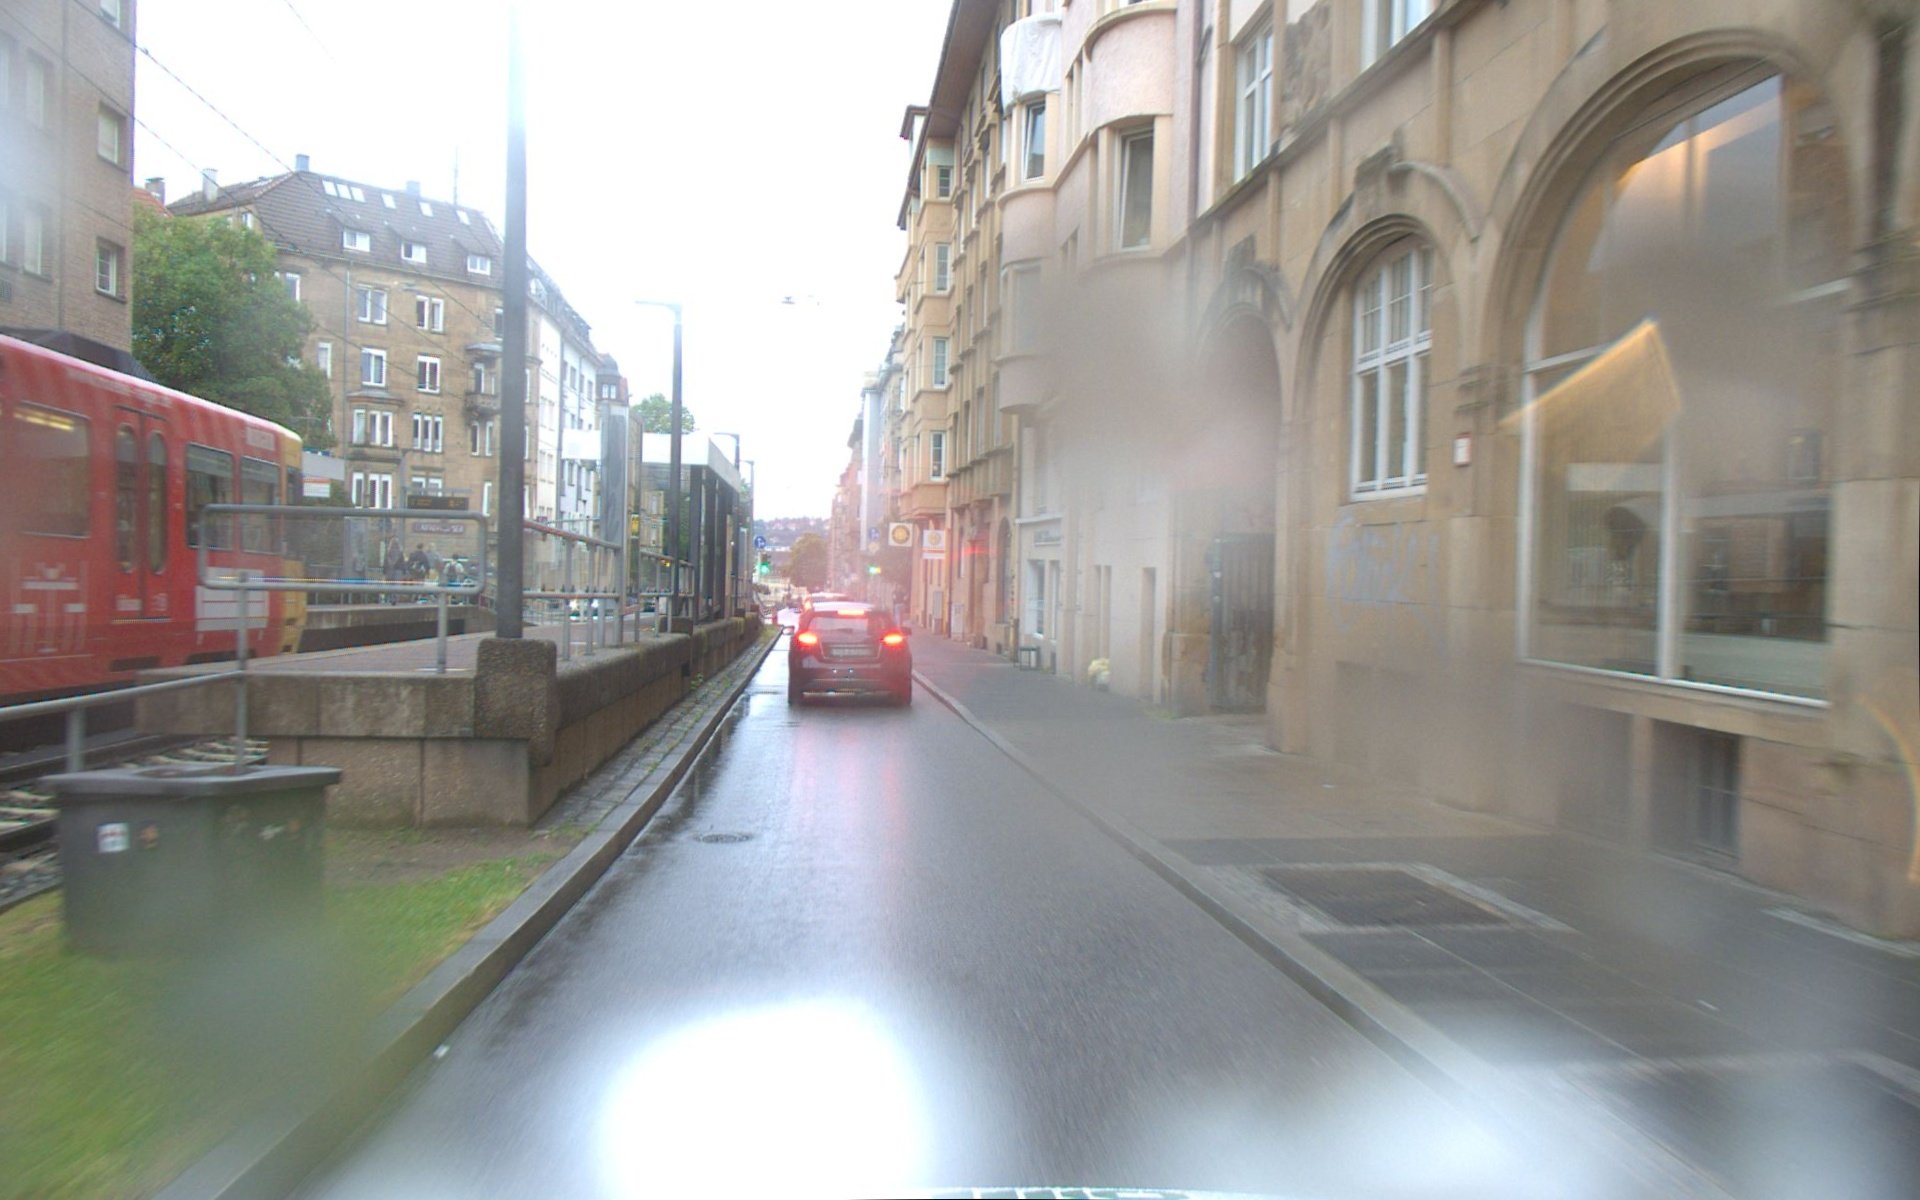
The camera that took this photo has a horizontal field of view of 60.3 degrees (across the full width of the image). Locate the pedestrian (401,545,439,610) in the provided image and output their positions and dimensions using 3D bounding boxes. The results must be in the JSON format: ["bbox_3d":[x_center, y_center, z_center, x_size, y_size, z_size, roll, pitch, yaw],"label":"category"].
[{"bbox_3d":[-14.572,-0.604,44.675,0.729,1.726,0.882,2,0,-5],"label":"pedestrian"}]

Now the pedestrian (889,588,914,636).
[{"bbox_3d":[-2.384,0.477,67.054,0.882,1.872,0.968,-3,0,-3],"label":"pedestrian"}]

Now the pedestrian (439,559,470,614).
[{"bbox_3d":[-14.974,-0.385,48.987,0.679,1.611,0.955,1,-1,-5],"label":"pedestrian"}]

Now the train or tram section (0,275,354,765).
[{"bbox_3d":[-9.211,-0.663,13.981,2.662,3.989,19.839,1,0,-5],"label":"train or tram section"}]

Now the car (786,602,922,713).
[{"bbox_3d":[-1.590,0.781,24.493,1.830,1.477,3.996,1,0,-5],"label":"car"}]

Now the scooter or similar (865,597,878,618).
[{"bbox_3d":[-5.146,0.428,96.151,0.626,1.231,1.549,-1,0,-9],"label":"scooter or similar"}]

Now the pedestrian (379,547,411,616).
[{"bbox_3d":[-14.386,-0.467,42.143,0.652,1.728,0.687,0,-2,-9],"label":"pedestrian"}]

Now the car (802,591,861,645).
[{"bbox_3d":[-3.652,0.487,47.411,1.617,1.477,3.997,1,0,-4],"label":"car"}]

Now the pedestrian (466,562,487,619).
[{"bbox_3d":[-15.711,-0.308,53.755,0.500,1.850,0.799,1,0,-5],"label":"pedestrian"}]

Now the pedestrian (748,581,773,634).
[{"bbox_3d":[-7.779,0.304,64.563,0.908,2.049,0.946,1,0,-5],"label":"pedestrian"}]

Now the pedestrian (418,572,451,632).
[{"bbox_3d":[-14.833,0.052,46.722,0.729,1.676,0.640,-1,-1,-5],"label":"pedestrian"}]
